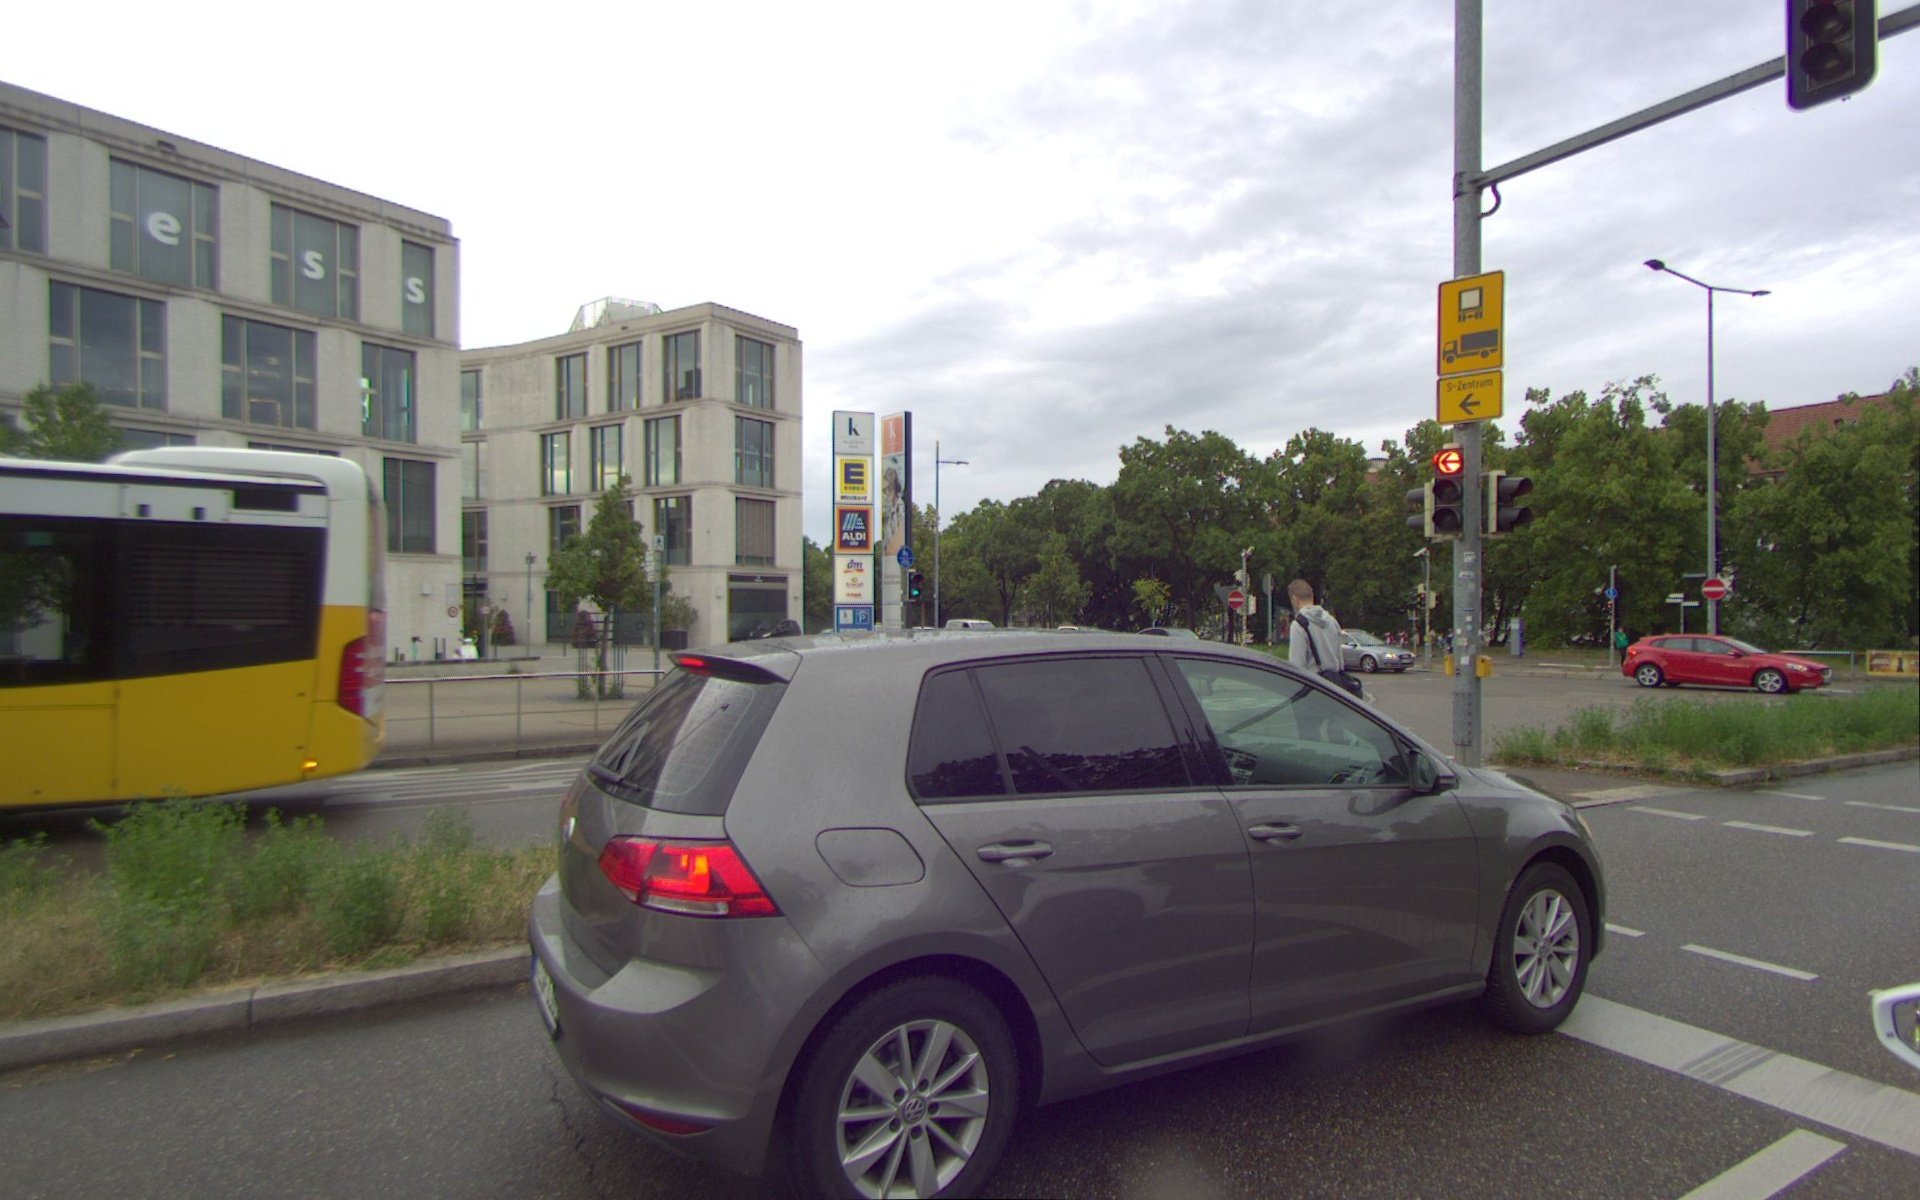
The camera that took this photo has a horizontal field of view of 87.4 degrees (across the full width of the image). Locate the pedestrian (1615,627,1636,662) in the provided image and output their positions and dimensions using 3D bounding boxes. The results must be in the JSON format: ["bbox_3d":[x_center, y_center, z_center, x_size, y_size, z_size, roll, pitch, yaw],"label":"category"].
[{"bbox_3d":[28.586,1.903,43.158,0.611,1.510,0.767,0,-1,44],"label":"pedestrian"}]

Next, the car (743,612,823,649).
[{"bbox_3d":[-8.798,1.539,50.286,1.748,1.754,3.991,0,-1,31],"label":"car"}]

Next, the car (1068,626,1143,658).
[{"bbox_3d":[7.267,2.089,50.574,1.823,1.444,3.755,1,0,-29],"label":"car"}]

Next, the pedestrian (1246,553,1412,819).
[{"bbox_3d":[3.028,0.688,8.309,0.835,2.040,0.938,1,-3,-25],"label":"pedestrian"}]

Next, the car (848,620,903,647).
[{"bbox_3d":[-4.980,1.939,58.967,1.650,1.444,3.946,1,0,-31],"label":"car"}]

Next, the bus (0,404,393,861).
[{"bbox_3d":[-9.393,0.213,7.791,8.465,3.351,2.878,1,-1,-27],"label":"bus"}]

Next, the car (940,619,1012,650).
[{"bbox_3d":[0.838,1.898,55.454,1.941,1.551,4.507,1,0,-31],"label":"car"}]

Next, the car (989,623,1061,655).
[{"bbox_3d":[3.232,1.964,50.905,1.825,1.444,3.753,1,0,-31],"label":"car"}]

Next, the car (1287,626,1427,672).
[{"bbox_3d":[14.444,1.739,36.773,1.978,1.444,4.502,1,-1,-31],"label":"car"}]

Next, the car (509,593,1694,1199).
[{"bbox_3d":[0.670,0.795,3.745,4.147,1.448,1.798,2,-3,-30],"label":"car"}]

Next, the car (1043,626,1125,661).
[{"bbox_3d":[5.656,1.957,46.242,1.825,1.444,3.753,1,0,-31],"label":"car"}]

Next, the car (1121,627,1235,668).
[{"bbox_3d":[8.688,1.876,40.313,1.978,1.444,4.423,1,-1,-31],"label":"car"}]

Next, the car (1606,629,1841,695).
[{"bbox_3d":[19.781,1.542,26.240,1.979,1.444,4.500,1,-1,-33],"label":"car"}]

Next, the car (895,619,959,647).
[{"bbox_3d":[-2.021,1.973,60.921,1.941,1.551,4.507,1,0,-31],"label":"car"}]
